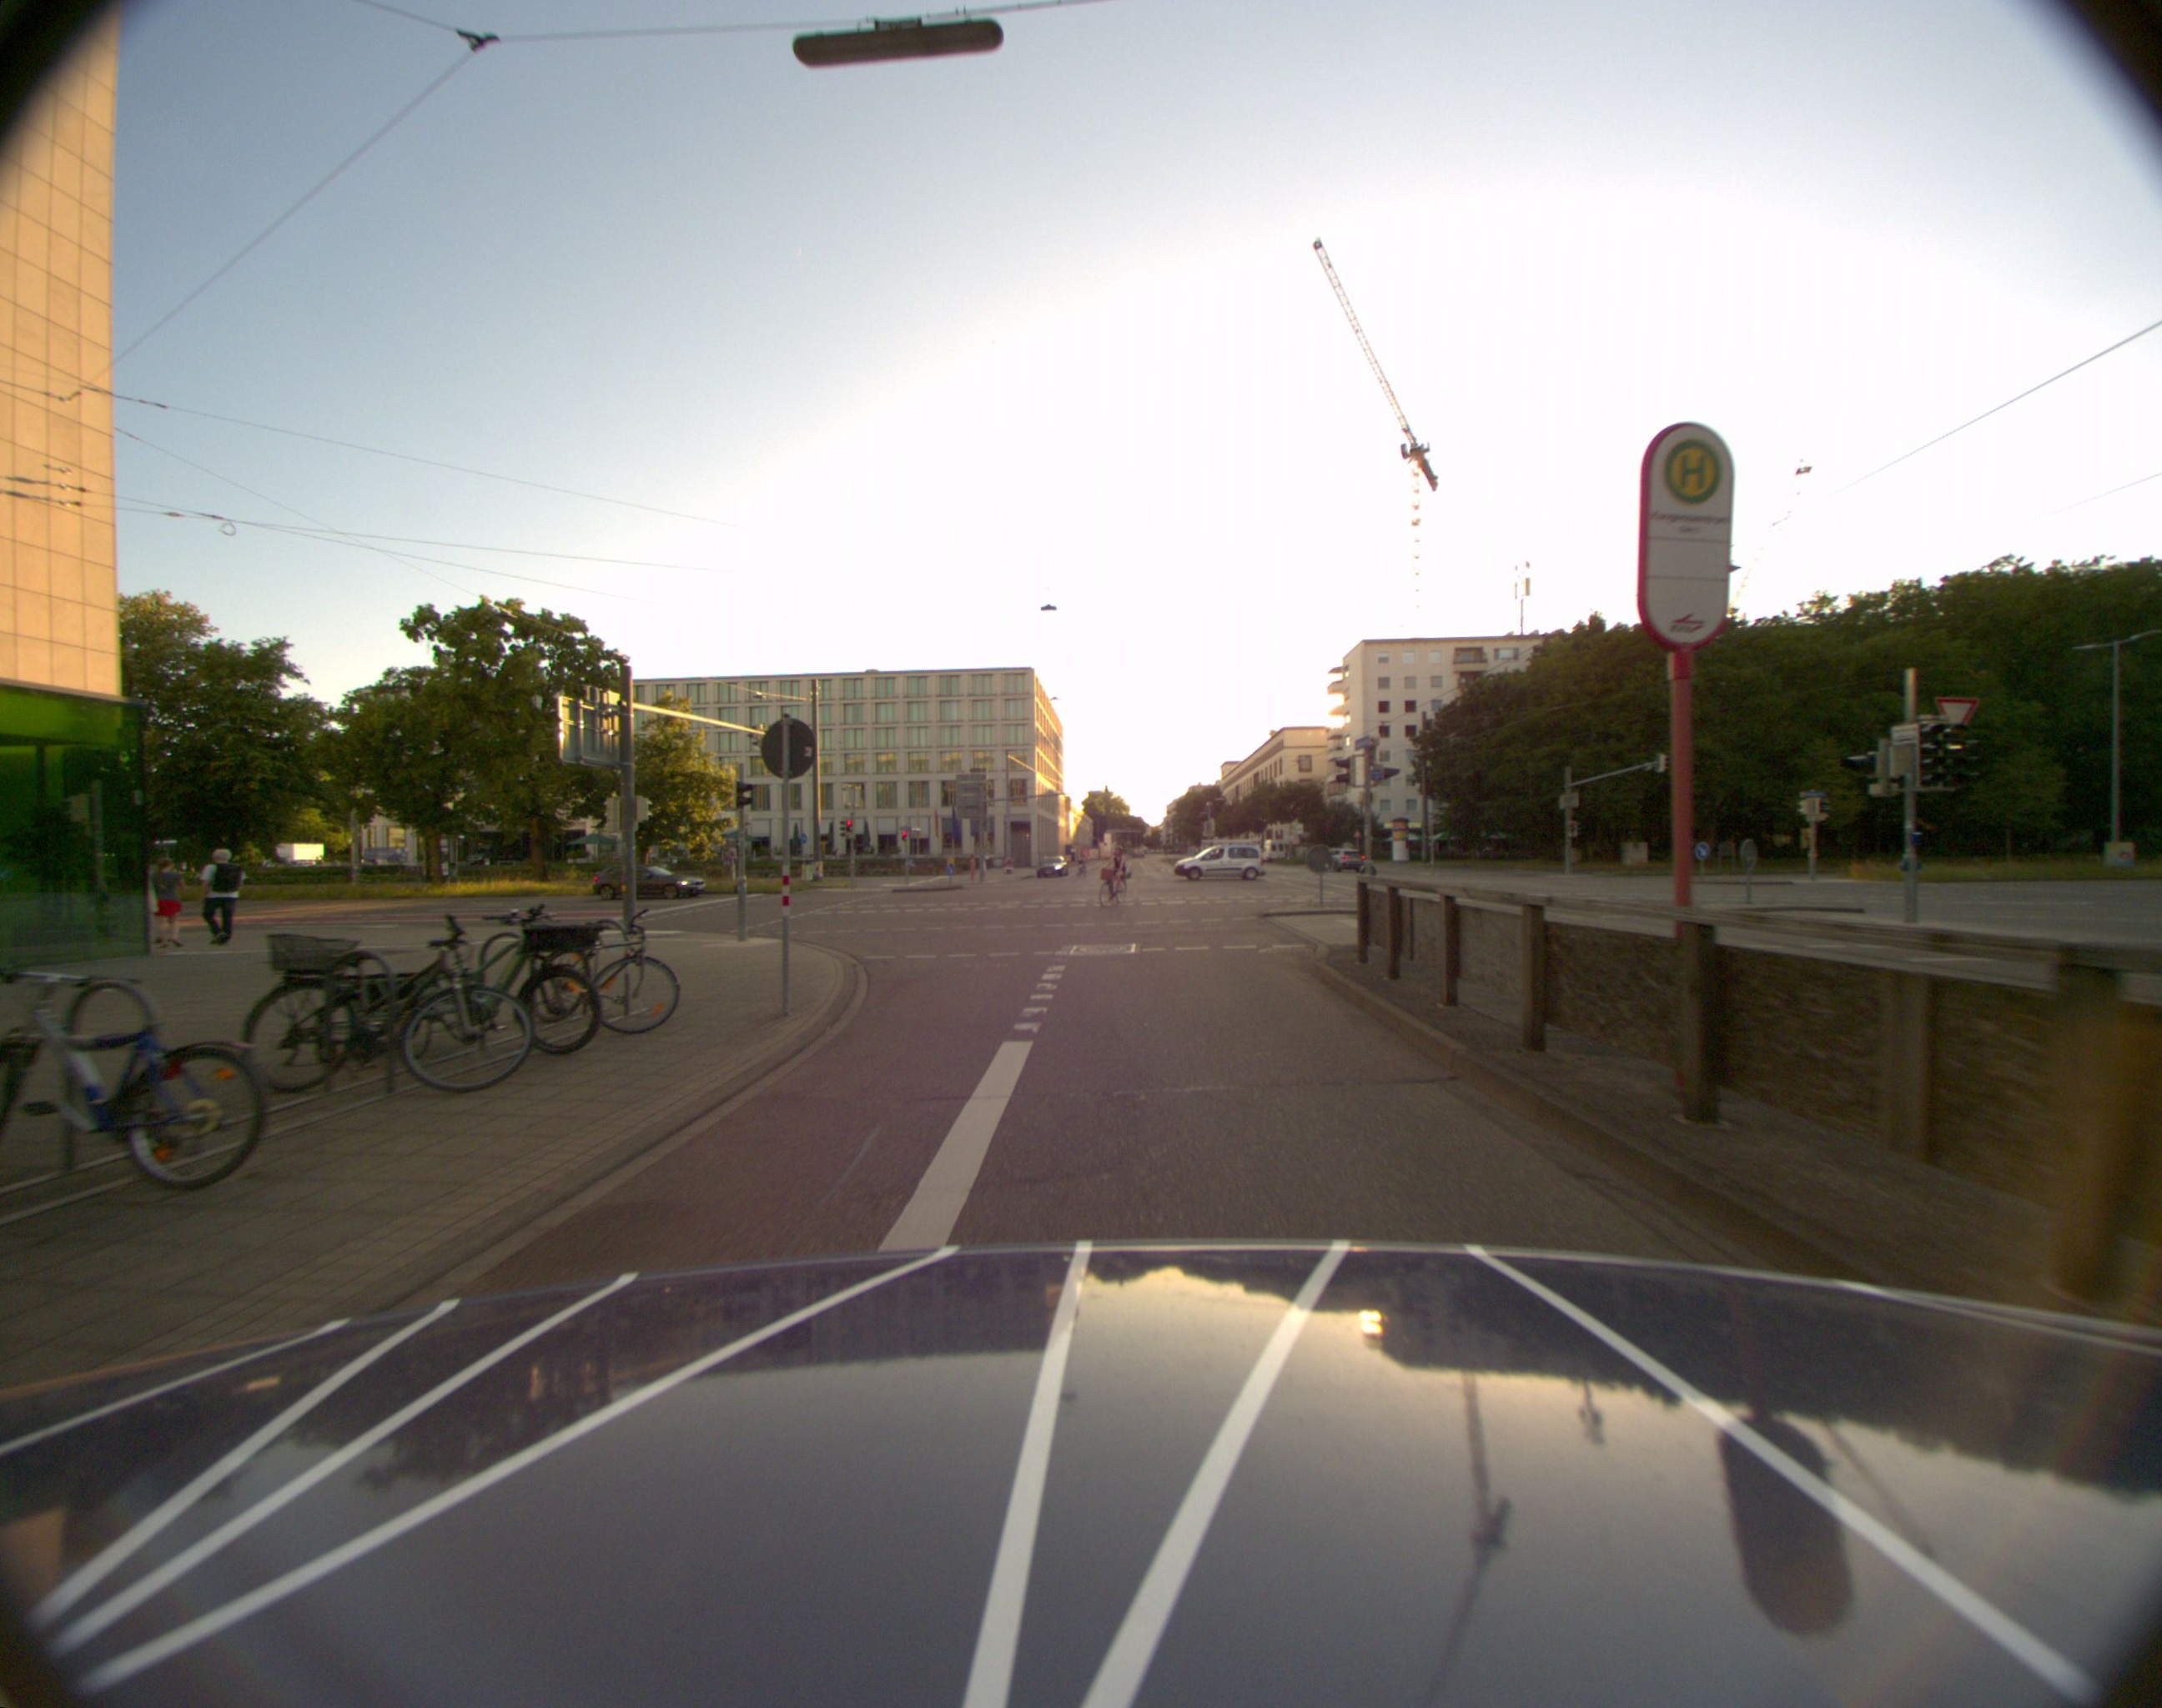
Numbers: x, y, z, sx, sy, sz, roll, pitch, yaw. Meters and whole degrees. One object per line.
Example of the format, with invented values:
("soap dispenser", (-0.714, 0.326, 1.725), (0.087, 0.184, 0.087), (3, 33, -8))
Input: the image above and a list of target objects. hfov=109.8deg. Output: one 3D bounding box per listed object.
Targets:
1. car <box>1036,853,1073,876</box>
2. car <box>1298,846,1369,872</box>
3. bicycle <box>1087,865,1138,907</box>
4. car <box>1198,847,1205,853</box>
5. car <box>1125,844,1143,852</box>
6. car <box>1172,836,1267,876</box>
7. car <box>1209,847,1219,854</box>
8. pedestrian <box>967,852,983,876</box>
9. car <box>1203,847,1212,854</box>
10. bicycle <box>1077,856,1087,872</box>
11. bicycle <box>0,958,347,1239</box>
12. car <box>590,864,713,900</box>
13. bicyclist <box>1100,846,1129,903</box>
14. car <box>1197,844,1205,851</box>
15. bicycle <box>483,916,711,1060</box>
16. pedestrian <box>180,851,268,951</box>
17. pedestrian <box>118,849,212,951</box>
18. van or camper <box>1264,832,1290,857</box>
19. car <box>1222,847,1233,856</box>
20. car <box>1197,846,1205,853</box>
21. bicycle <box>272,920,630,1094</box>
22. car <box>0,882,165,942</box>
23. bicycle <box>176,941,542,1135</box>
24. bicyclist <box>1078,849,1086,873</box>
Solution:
("car", (-1.899, 0.725, 56.144), (1.815, 1.514, 4.813), (-2, 0, 8))
("car", (17.261, 0.315, 52.127), (1.890, 1.654, 4.334), (-1, 1, -36))
("bicycle", (0.938, 0.903, 22.058), (0.608, 1.108, 2.090), (0, 1, 29))
("car", (29.588, -1.098, 186.762), (1.721, 1.422, 3.811), (-1, 0, 7))
("car", (11.104, -1.275, 159.160), (3.805, 1.639, 1.864), (-1, 1, 4))
("car", (6.863, 0.078, 37.901), (4.461, 1.900, 1.806), (-1, 1, 3))
("car", (26.564, -0.696, 152.139), (1.721, 1.422, 3.811), (-1, 0, 7))
("pedestrian", (-7.041, 0.651, 50.387), (0.736, 1.617, 0.727), (0, 1, 36))
("car", (27.235, -0.846, 163.885), (1.721, 1.478, 3.812), (-1, 0, 8))
("bicycle", (0.085, 0.685, 52.950), (0.540, 1.045, 1.761), (-1, 1, 5))
("bicycle", (-4.597, 1.078, 3.605), (1.554, 1.068, 0.744), (-1, 1, 6))
("car", (-17.659, 1.135, 31.333), (4.168, 1.412, 1.699), (0, 1, 5))
("bicyclist", (0.970, 0.584, 22.121), (0.609, 1.626, 0.598), (0, 1, 29))
("car", (27.238, -1.443, 172.649), (1.721, 1.422, 3.811), (-1, 0, 7))
("bicycle", (-4.331, 1.137, 6.806), (1.861, 1.068, 0.745), (-1, 1, 21))
("pedestrian", (-15.474, 0.828, 13.734), (0.708, 1.758, 0.735), (-1, 1, 4))
("pedestrian", (-16.243, 0.800, 13.492), (0.708, 1.758, 0.747), (-1, 1, 4))
("van or camper", (22.423, -1.059, 86.937), (2.109, 2.665, 4.714), (-1, -2, 6))
("car", (25.578, -0.446, 132.809), (1.721, 1.422, 3.811), (-1, 0, 7))
("car", (26.241, -1.098, 166.769), (1.721, 1.478, 3.811), (0, 1, 8))
("bicycle", (-4.765, 1.118, 5.828), (2.235, 1.125, 0.744), (0, 1, 6))
("car", (-27.140, 1.508, 20.112), (3.864, 1.403, 1.698), (-1, 1, 4))
("bicycle", (-4.655, 1.148, 4.973), (1.759, 1.068, 0.744), (-1, 1, 6))
("bicyclist", (0.082, 0.480, 52.875), (0.541, 1.626, 0.597), (-1, 1, 4))
